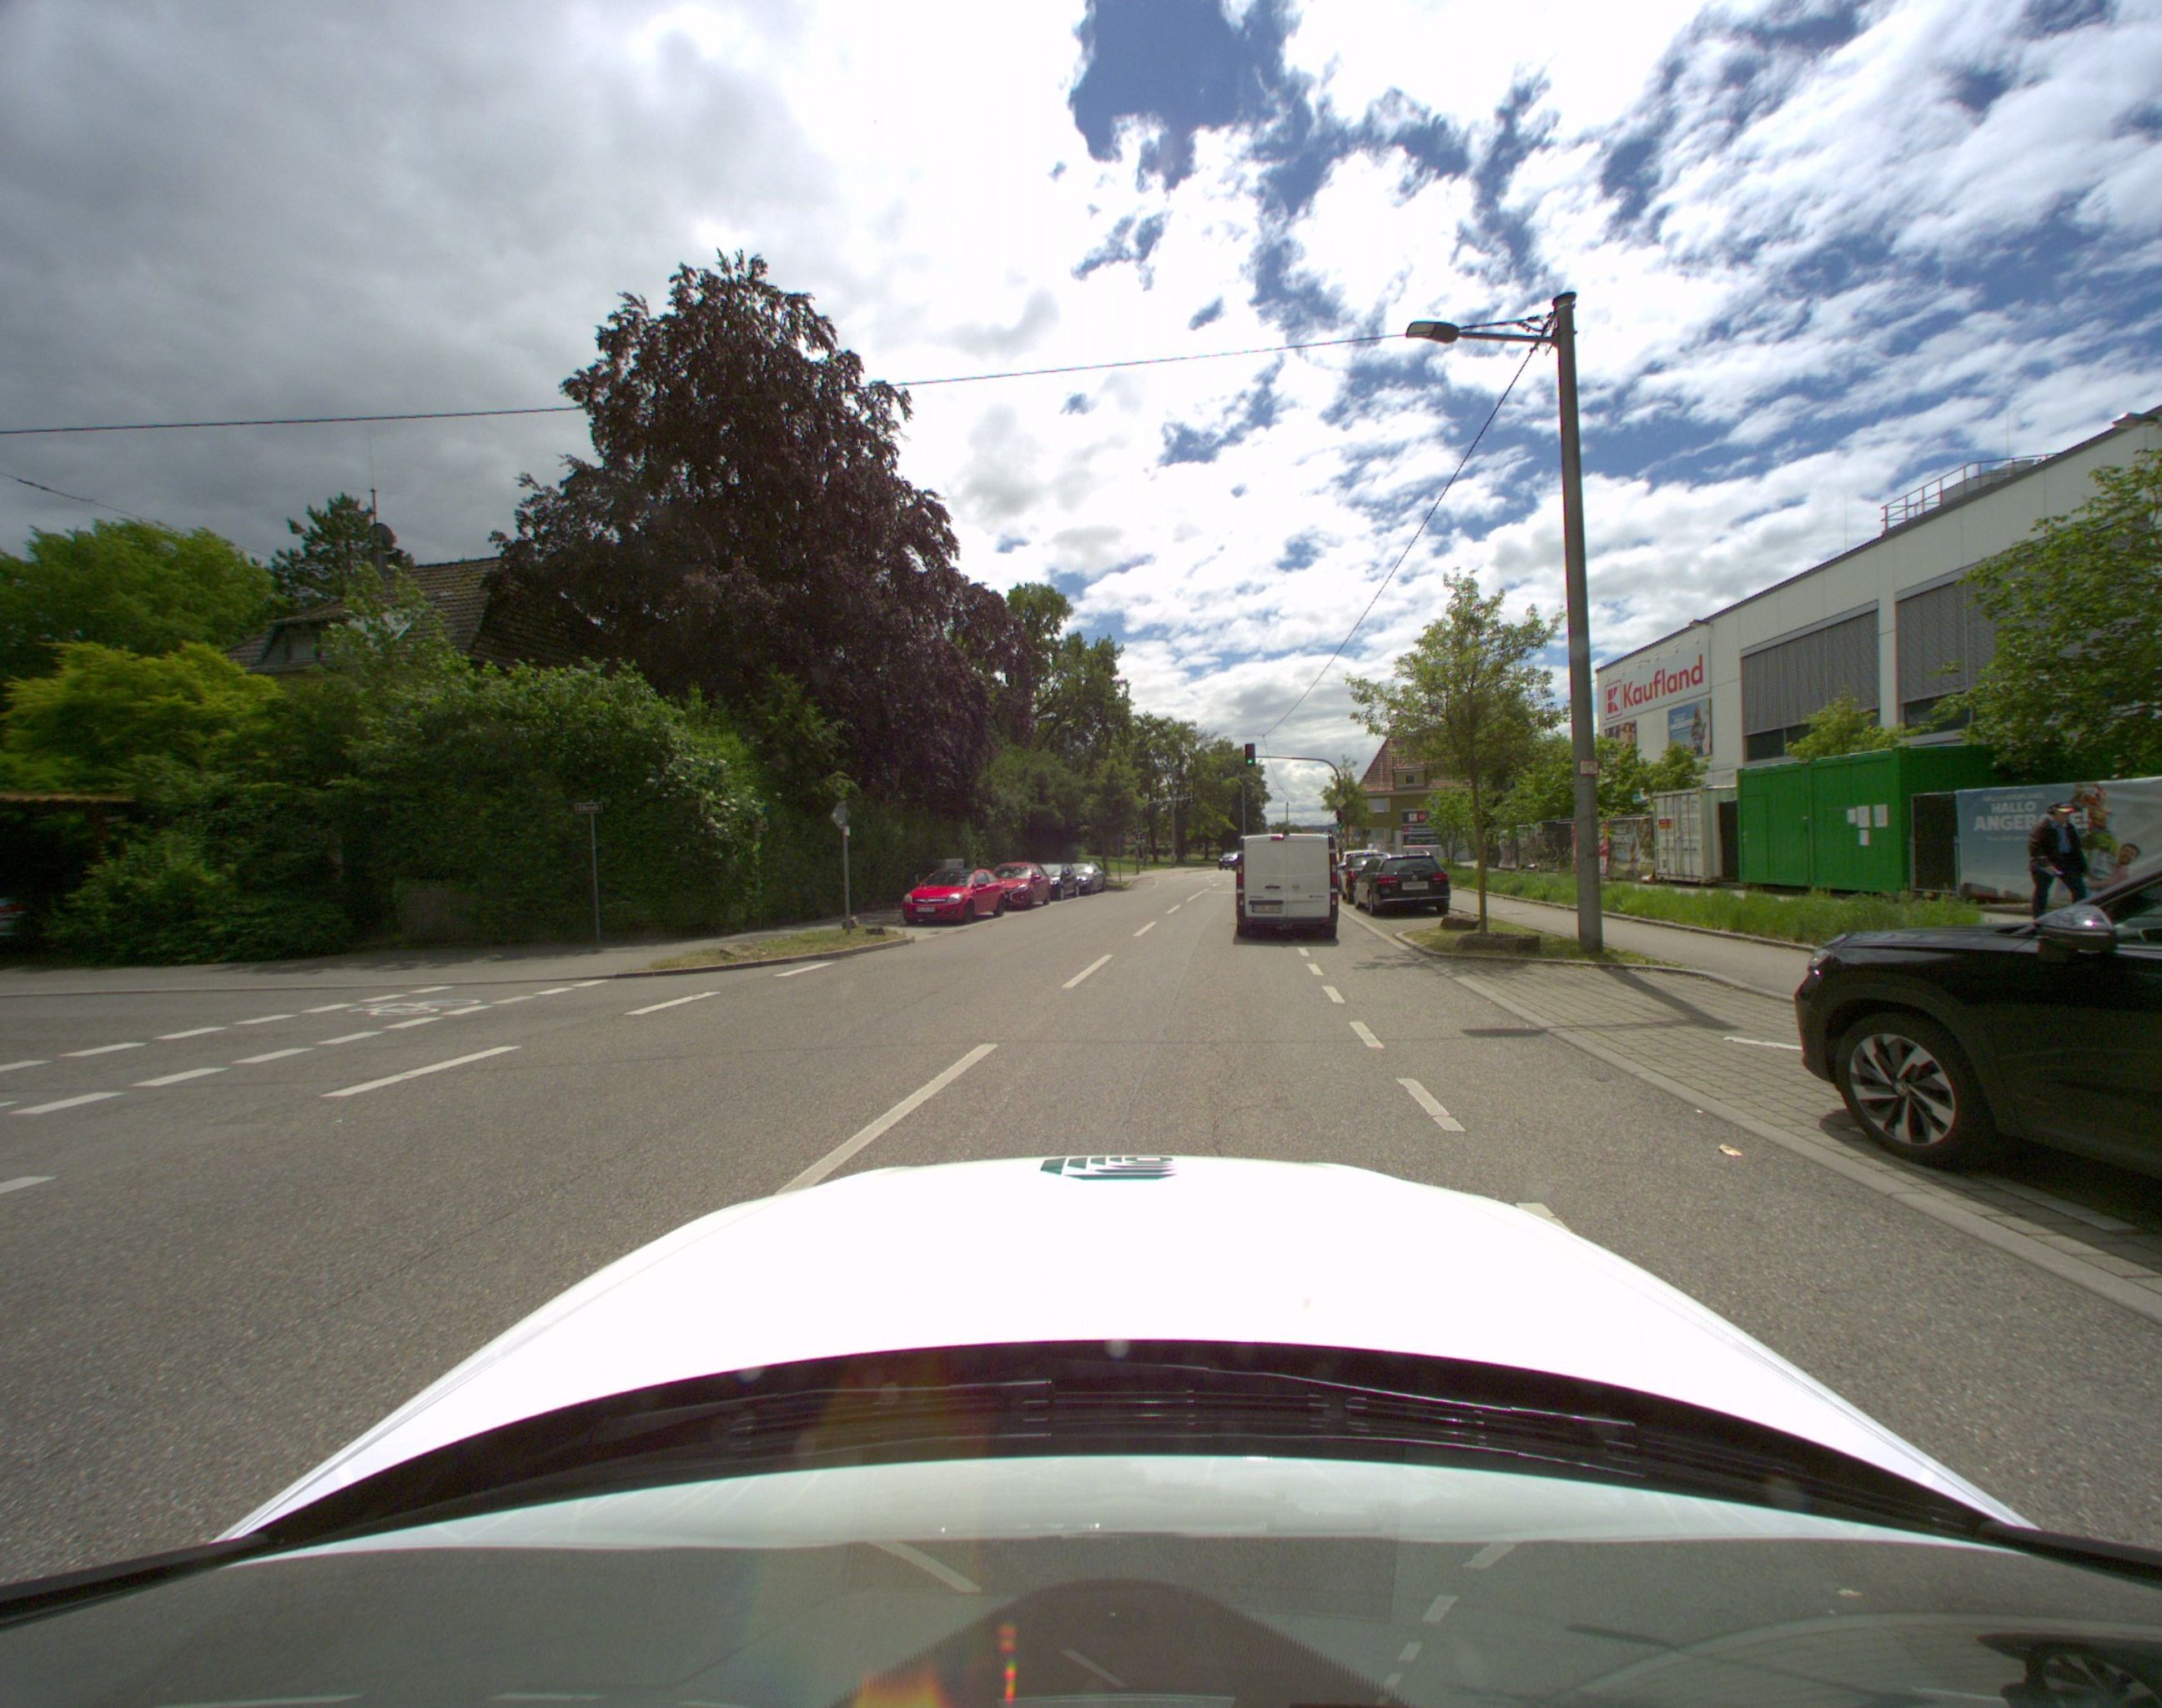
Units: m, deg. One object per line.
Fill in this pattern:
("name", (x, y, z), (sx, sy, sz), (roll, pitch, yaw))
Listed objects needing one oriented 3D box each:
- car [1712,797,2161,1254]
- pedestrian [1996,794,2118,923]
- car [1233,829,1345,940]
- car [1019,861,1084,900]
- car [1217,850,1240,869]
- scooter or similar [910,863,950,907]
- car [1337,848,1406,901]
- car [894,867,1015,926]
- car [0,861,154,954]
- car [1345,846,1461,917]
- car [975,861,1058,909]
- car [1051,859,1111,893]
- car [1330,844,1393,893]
("car", (4.714, 0.558, 2.526), (1.871, 1.621, 4.850), (-3, -1, 3))
("pedestrian", (13.444, 0.062, 11.249), (0.647, 1.697, 0.847), (-2, -1, 10))
("car", (4.201, 0.528, 16.868), (1.926, 1.960, 4.849), (0, 0, 12))
("car", (-1.114, 1.010, 32.210), (1.584, 1.450, 3.609), (-1, 0, 14))
("car", (13.956, 0.492, 76.695), (1.820, 1.616, 4.167), (-3, 0, 13))
("scooter or similar", (-5.126, 1.035, 27.705), (0.665, 1.412, 1.655), (-1, 0, 14))
("car", (9.051, 0.600, 25.663), (1.557, 1.493, 4.014), (-3, -1, 13))
("car", (-3.299, 1.075, 22.234), (1.649, 1.378, 4.582), (-1, 0, 13))
("car", (-19.092, 0.897, 14.824), (1.734, 1.510, 3.961), (-1, 0, -30))
("car", (8.018, 0.624, 20.725), (1.753, 1.477, 4.950), (-5, -1, 11))
("car", (-2.076, 0.997, 27.417), (1.638, 1.450, 4.119), (-1, 0, 12))
("car", (0.063, 0.926, 36.376), (1.683, 1.365, 4.702), (0, 0, 12))
("car", (10.614, 0.517, 31.097), (1.725, 1.616, 4.402), (-4, -1, 13))
